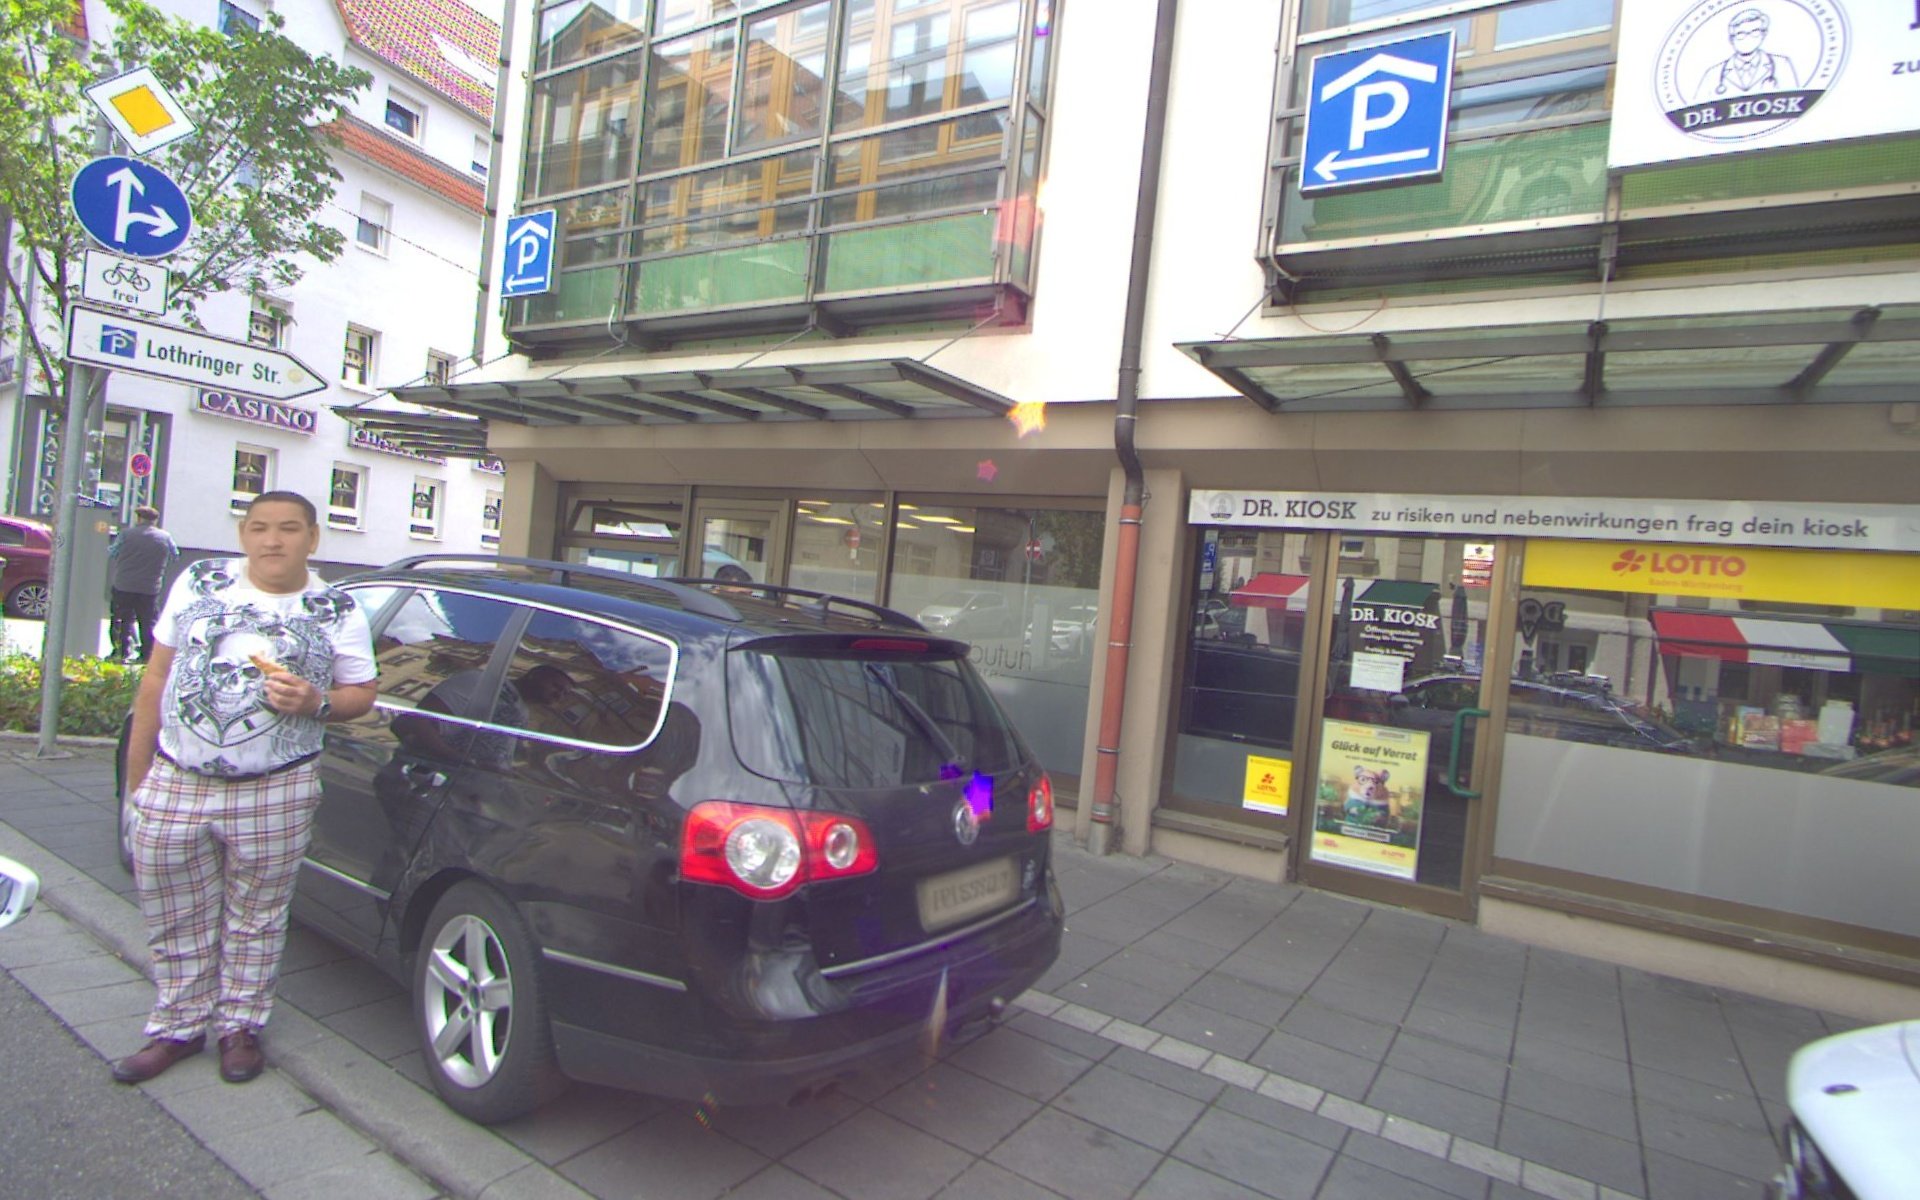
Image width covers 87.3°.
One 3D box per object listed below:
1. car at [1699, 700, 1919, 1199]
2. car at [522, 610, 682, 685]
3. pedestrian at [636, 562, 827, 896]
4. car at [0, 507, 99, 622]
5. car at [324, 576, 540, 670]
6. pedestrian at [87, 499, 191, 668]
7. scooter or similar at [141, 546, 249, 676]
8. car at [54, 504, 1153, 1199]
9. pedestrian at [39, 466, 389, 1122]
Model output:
[{"bbox_3d":[3.574,1.127,0.889,4.462,1.462,1.854,6,-1,33],"label":"car"},{"bbox_3d":[-9.708,1.353,27.593,1.817,1.411,3.846,6,-7,25],"label":"car"},{"bbox_3d":[-1.169,0.644,5.212,0.470,1.580,0.660,5,-2,34],"label":"pedestrian"},{"bbox_3d":[-14.767,-0.690,14.109,1.514,1.547,3.750,5,-3,36],"label":"car"},{"bbox_3d":[-11.820,0.589,22.798,1.817,1.411,3.899,6,-7,25],"label":"car"},{"bbox_3d":[-8.806,-0.170,10.795,0.473,1.722,0.572,6,-2,30],"label":"pedestrian"},{"bbox_3d":[-8.389,0.109,11.022,1.229,1.295,0.431,5,-2,33],"label":"scooter or similar"},{"bbox_3d":[-1.726,0.554,3.999,4.480,1.471,1.716,6,-1,35],"label":"car"},{"bbox_3d":[-2.089,0.500,2.871,0.580,1.618,0.543,7,-2,-36],"label":"pedestrian"}]
